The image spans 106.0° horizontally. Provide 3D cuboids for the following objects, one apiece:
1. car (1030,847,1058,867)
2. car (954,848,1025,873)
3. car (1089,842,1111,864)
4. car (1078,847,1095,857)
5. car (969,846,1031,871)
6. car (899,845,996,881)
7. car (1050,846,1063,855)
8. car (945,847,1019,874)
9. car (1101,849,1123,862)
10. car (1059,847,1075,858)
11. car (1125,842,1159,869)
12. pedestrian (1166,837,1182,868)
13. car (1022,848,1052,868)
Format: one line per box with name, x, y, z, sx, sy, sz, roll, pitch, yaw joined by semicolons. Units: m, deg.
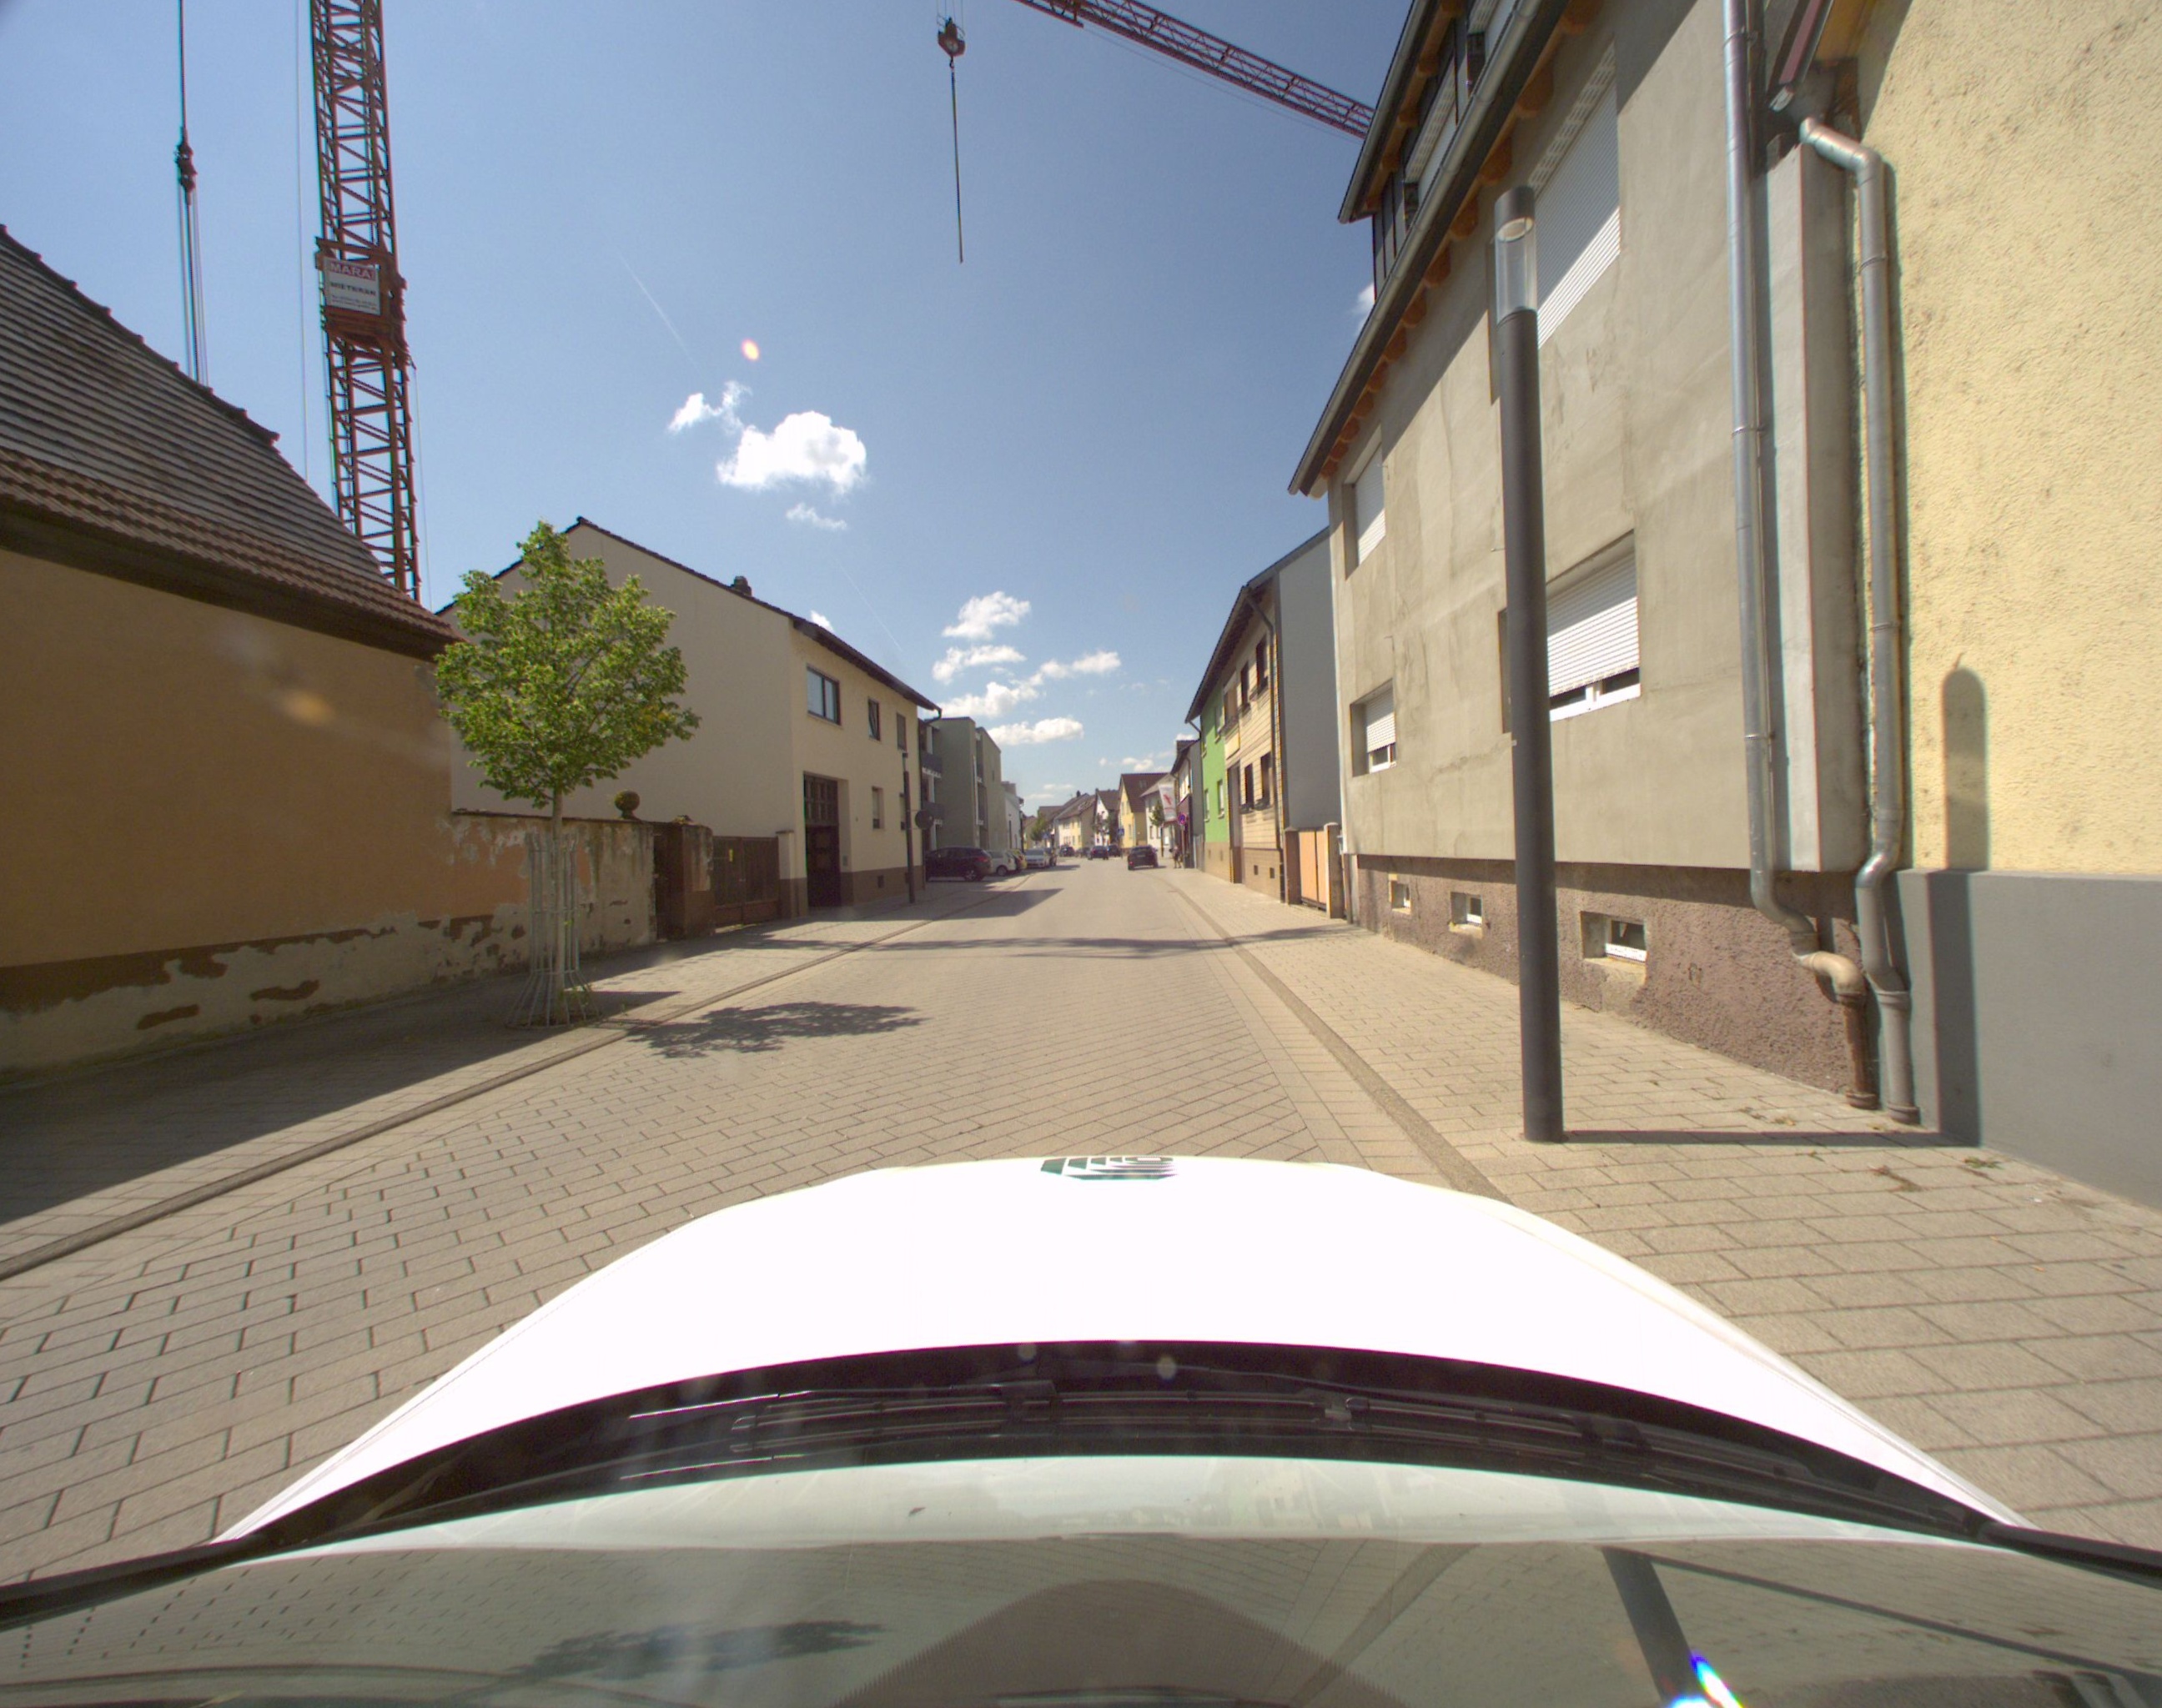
car;-2.951;0.208;65.795;1.805;1.490;4.282;-1;1;4
car;-5.431;0.393;48.755;3.970;1.441;1.693;1;0;3
car;1.873;-0.149;82.045;1.987;2.057;4.373;-3;1;-1
car;0.771;-0.255;114.568;1.710;1.387;3.695;-3;1;-8
car;-5.138;0.272;51.694;3.675;1.525;1.674;0;1;4
car;-6.283;0.393;38.600;4.202;1.658;1.786;0;0;2
car;-4.379;-0.650;142.821;1.753;1.492;3.988;-3;1;-8
car;-5.615;0.366;46.479;3.882;1.502;1.753;0;1;5
car;3.676;0.178;97.430;1.828;1.471;4.264;-4;0;-8
car;-2.211;-0.285;128.110;1.877;1.591;3.988;-3;1;-8
car;3.840;0.071;50.393;1.848;1.459;4.594;-4;0;6
pedestrian;5.266;-0.084;45.959;0.726;1.640;0.750;-5;0;6
car;-3.202;0.285;59.769;1.750;1.411;3.882;0;1;4
